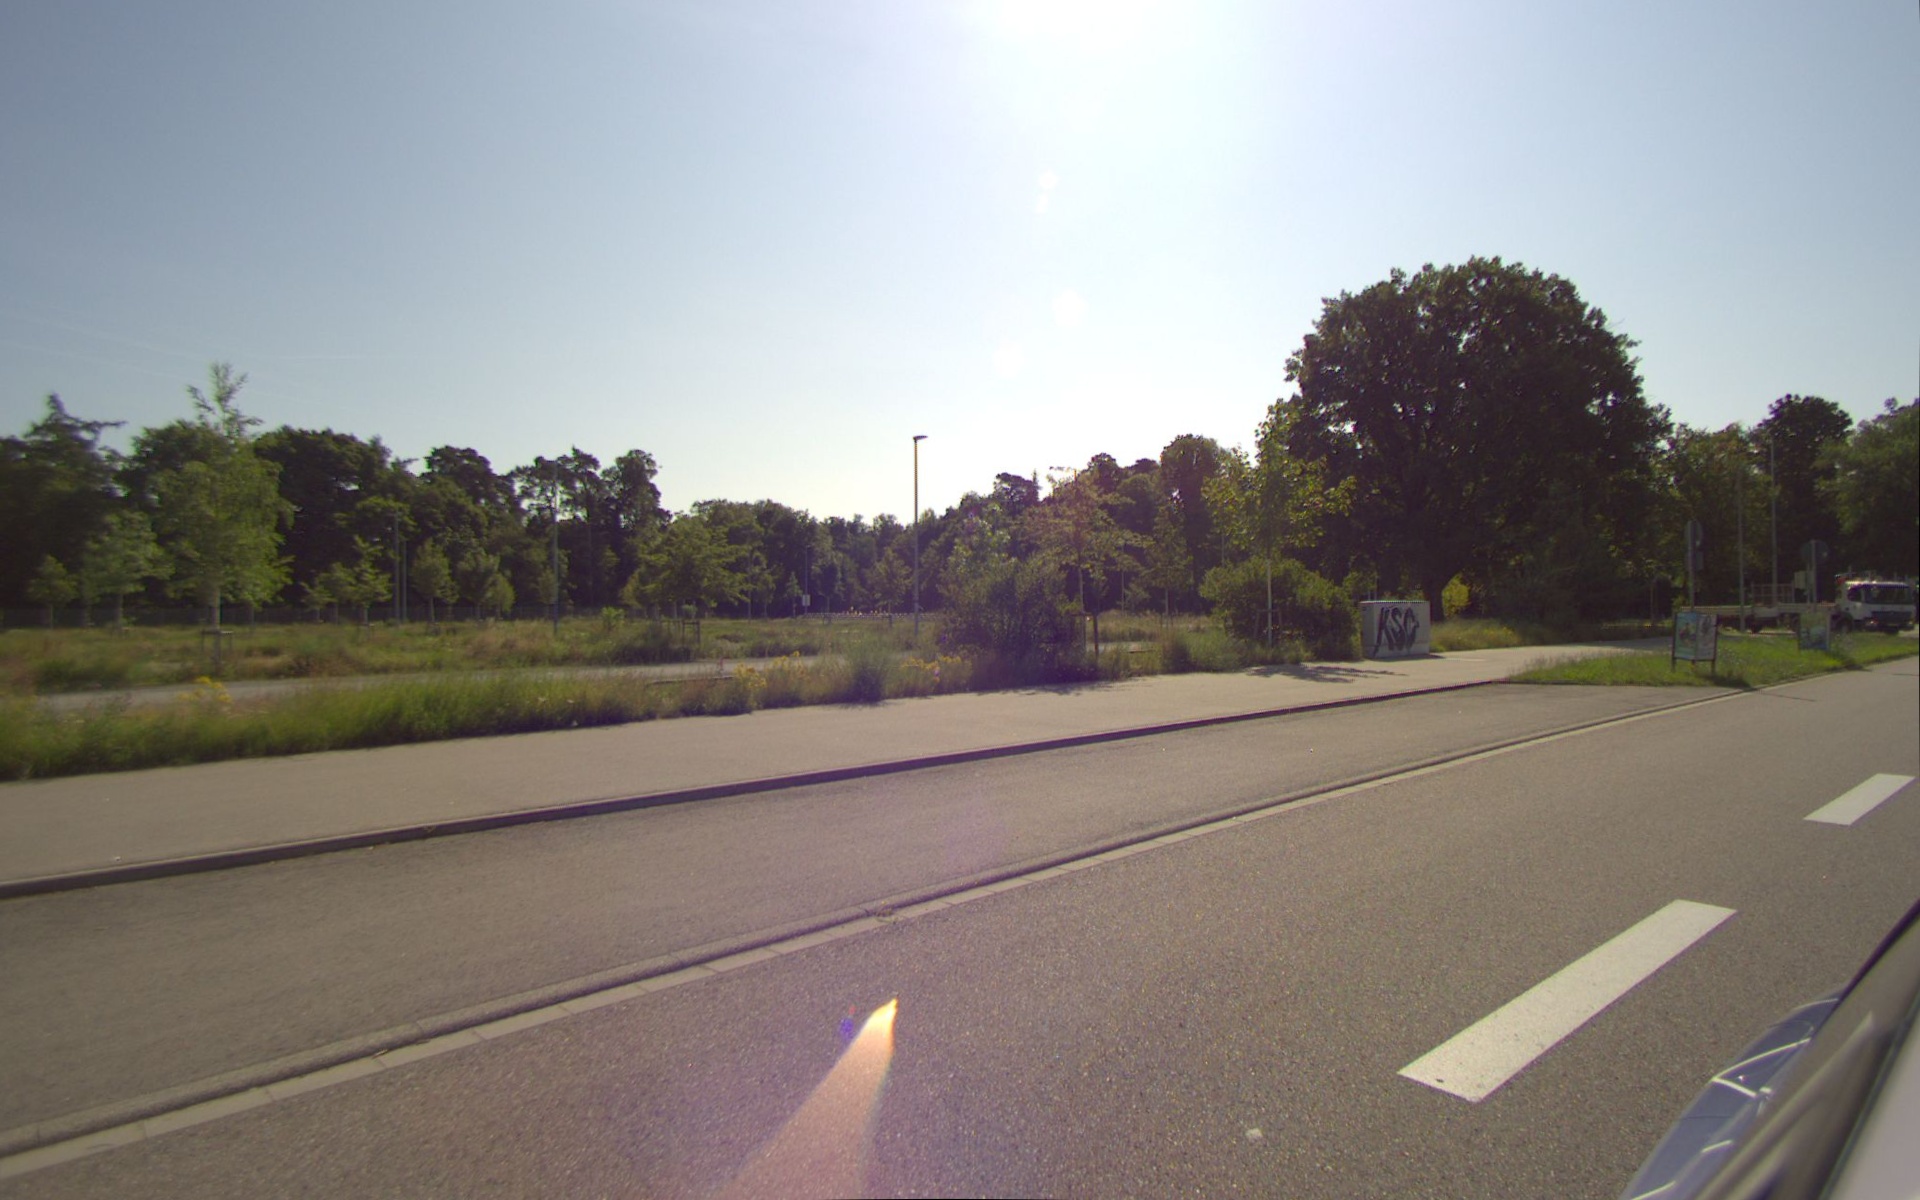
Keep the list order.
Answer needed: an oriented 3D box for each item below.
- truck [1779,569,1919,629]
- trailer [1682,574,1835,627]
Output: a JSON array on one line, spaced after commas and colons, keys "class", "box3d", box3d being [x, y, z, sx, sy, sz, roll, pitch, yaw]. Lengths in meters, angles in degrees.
[{"class": "truck", "box3d": [43.923, -0.003, 49.631, 2.632, 2.752, 6.196, -1, -1, 4]}, {"class": "trailer", "box3d": [43.918, 0.069, 55.998, 2.650, 2.722, 6.892, -1, -1, -3]}]
